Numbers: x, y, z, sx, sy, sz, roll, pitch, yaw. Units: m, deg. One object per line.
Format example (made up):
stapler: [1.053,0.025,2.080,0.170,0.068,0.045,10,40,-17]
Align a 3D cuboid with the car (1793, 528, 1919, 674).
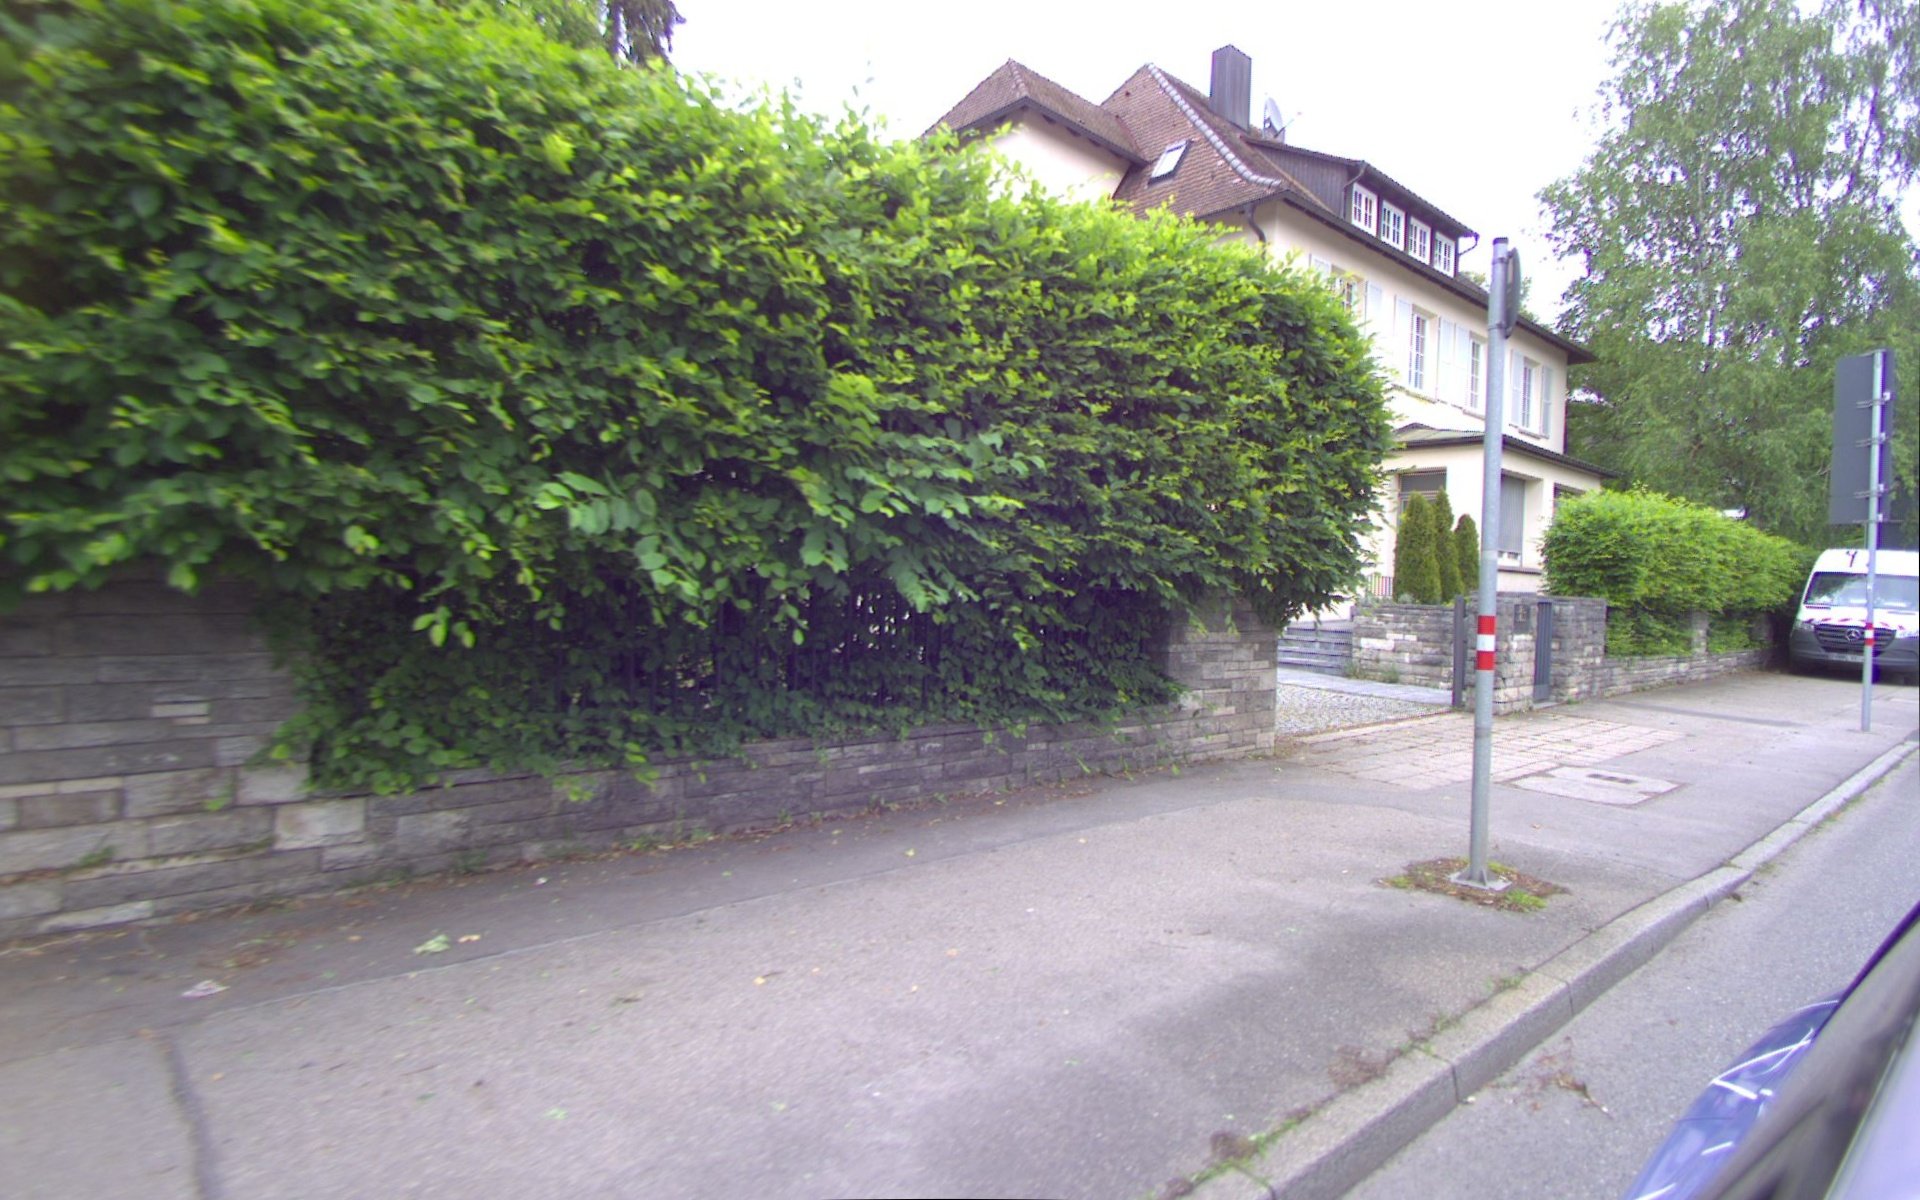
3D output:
car: [19.254,-0.010,21.072,6.570,2.636,2.092,0,2,-44]
